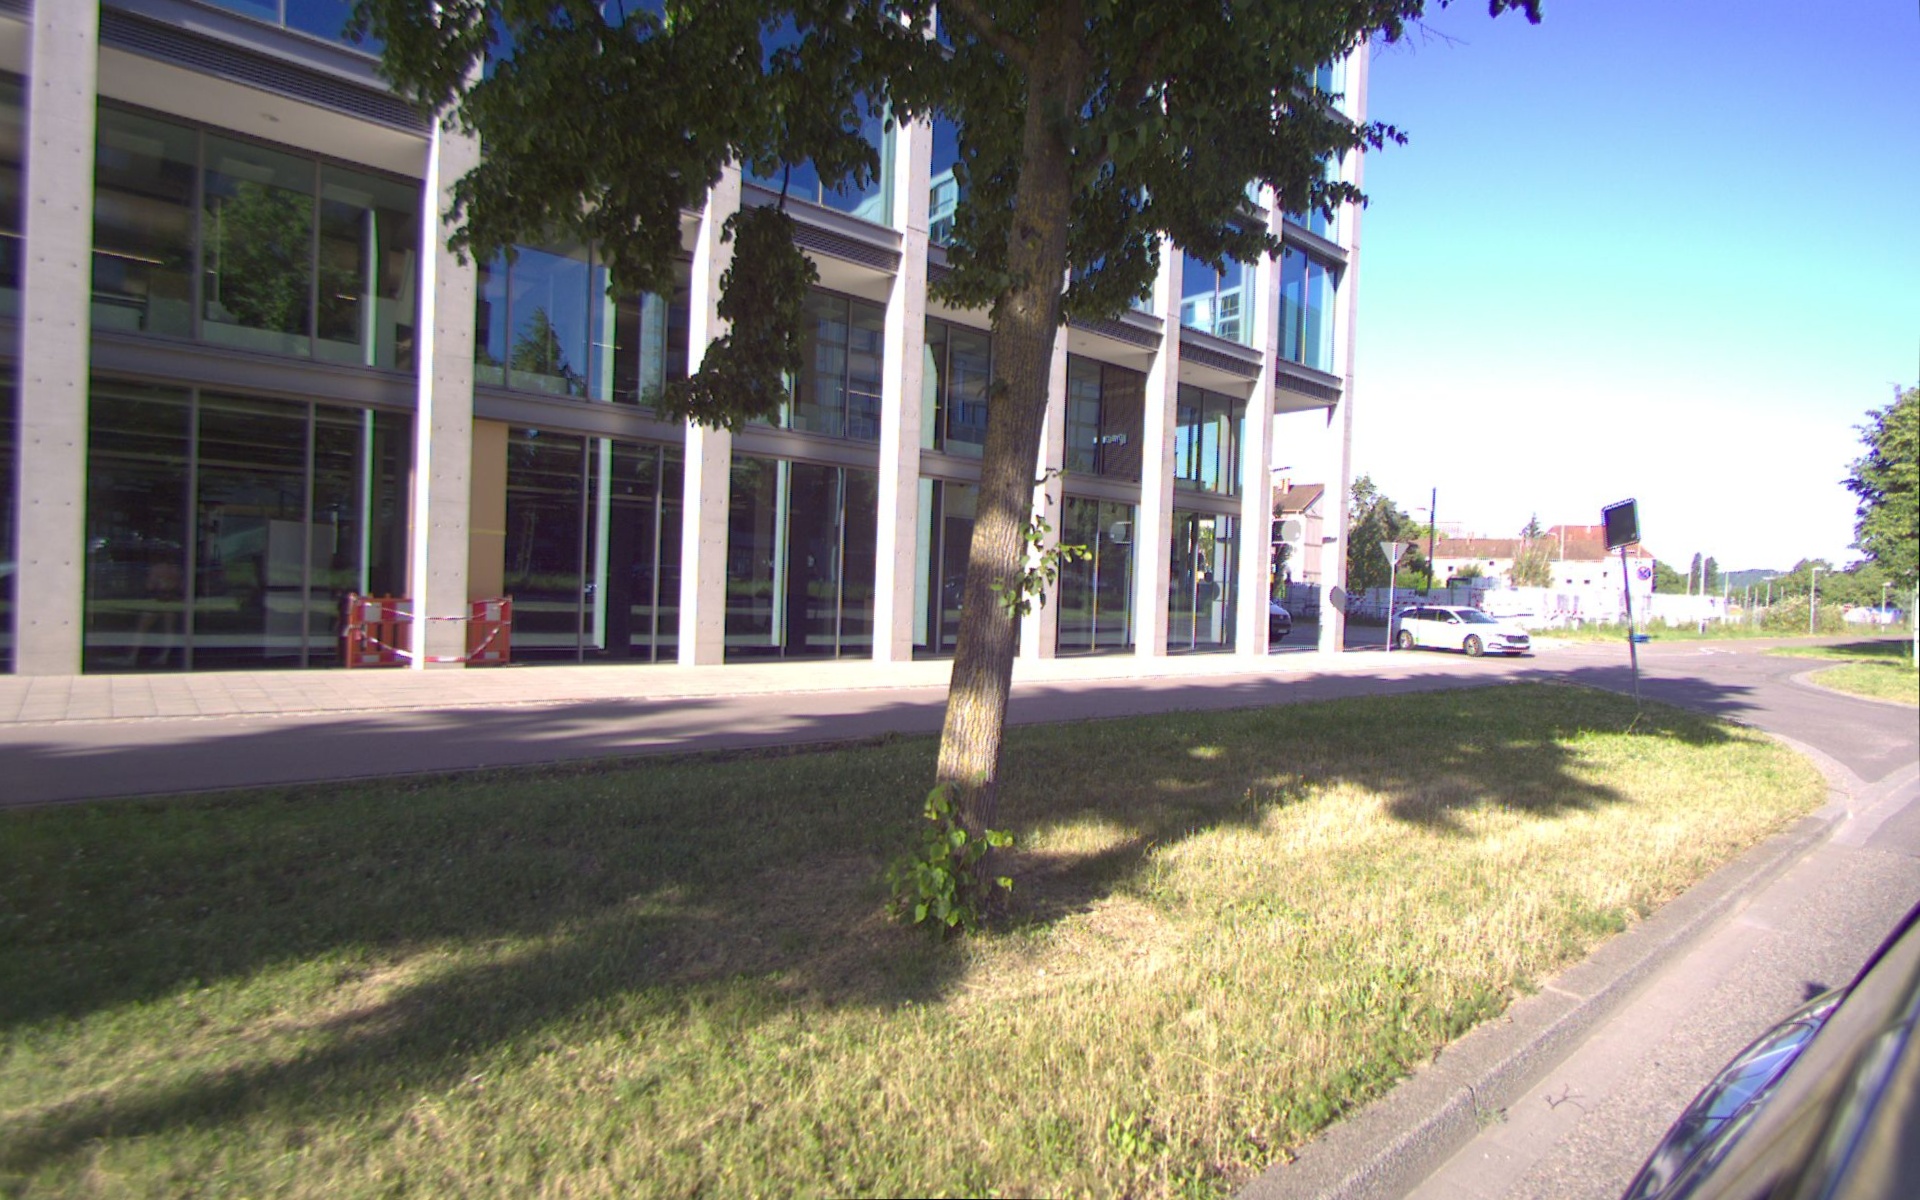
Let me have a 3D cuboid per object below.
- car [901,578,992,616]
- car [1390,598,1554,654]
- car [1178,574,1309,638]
[{"bbox_3d":[-0.613,-0.140,48.334,3.929,1.635,1.998,1,2,-41],"label":"car"},{"bbox_3d":[15.776,0.751,31.472,1.736,1.410,4.538,0,2,-20],"label":"car"},{"bbox_3d":[9.917,0.153,35.865,1.897,2.006,5.095,2,1,-18],"label":"car"}]
